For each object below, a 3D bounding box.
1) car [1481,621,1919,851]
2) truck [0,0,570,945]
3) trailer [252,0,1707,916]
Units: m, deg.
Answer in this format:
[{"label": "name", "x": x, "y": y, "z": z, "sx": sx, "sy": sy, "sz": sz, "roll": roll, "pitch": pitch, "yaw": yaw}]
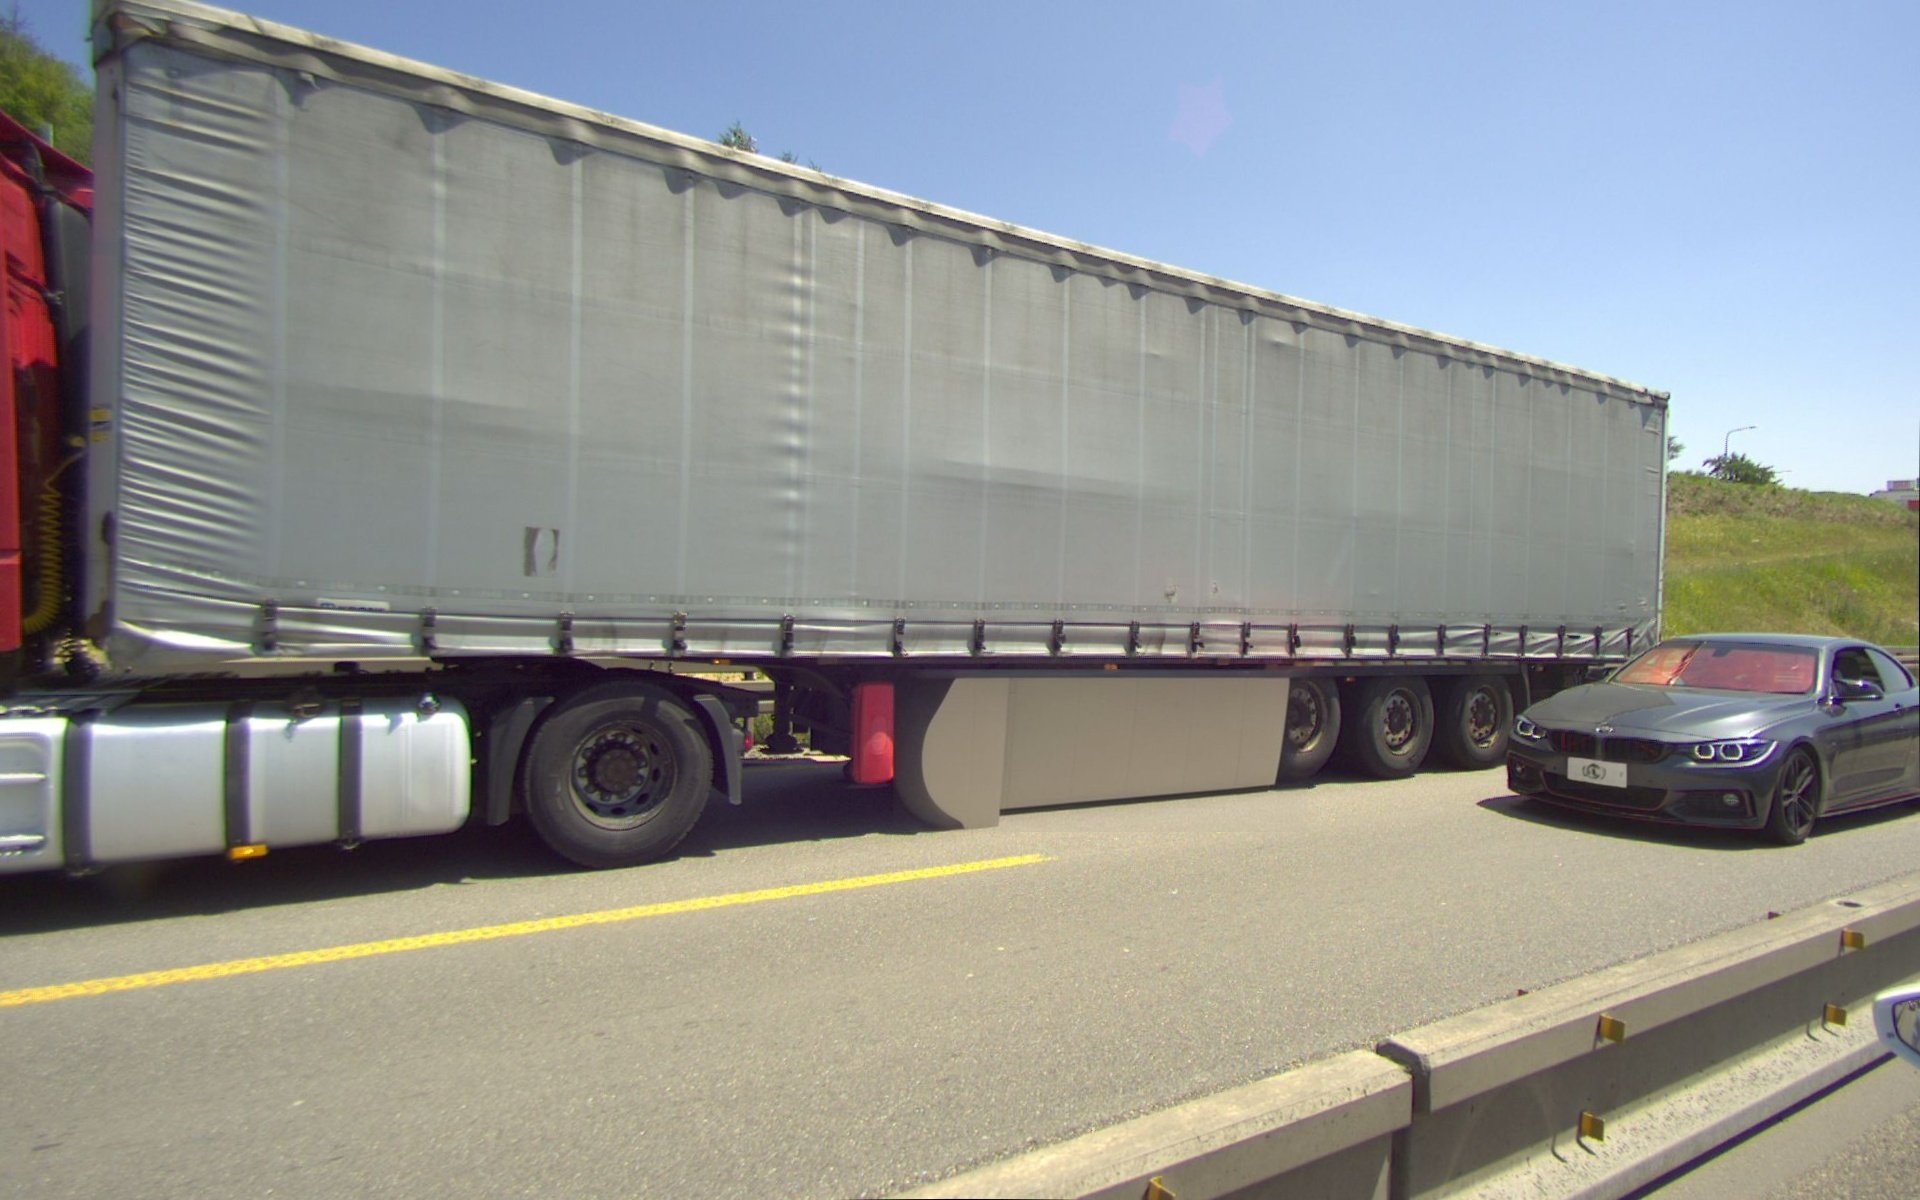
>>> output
[{"label": "car", "x": 6.341, "y": 0.906, "z": 8.113, "sx": 4.360, "sy": 1.381, "sz": 1.758, "roll": 1, "pitch": 0, "yaw": -31}, {"label": "truck", "x": -4.645, "y": -0.738, "z": 5.101, "sx": 4.545, "sy": 4.179, "sz": 2.807, "roll": 1, "pitch": 0, "yaw": -31}, {"label": "trailer", "x": 1.915, "y": -0.601, "z": 9.053, "sx": 13.282, "sy": 4.179, "sz": 2.842, "roll": 1, "pitch": 0, "yaw": -31}]
